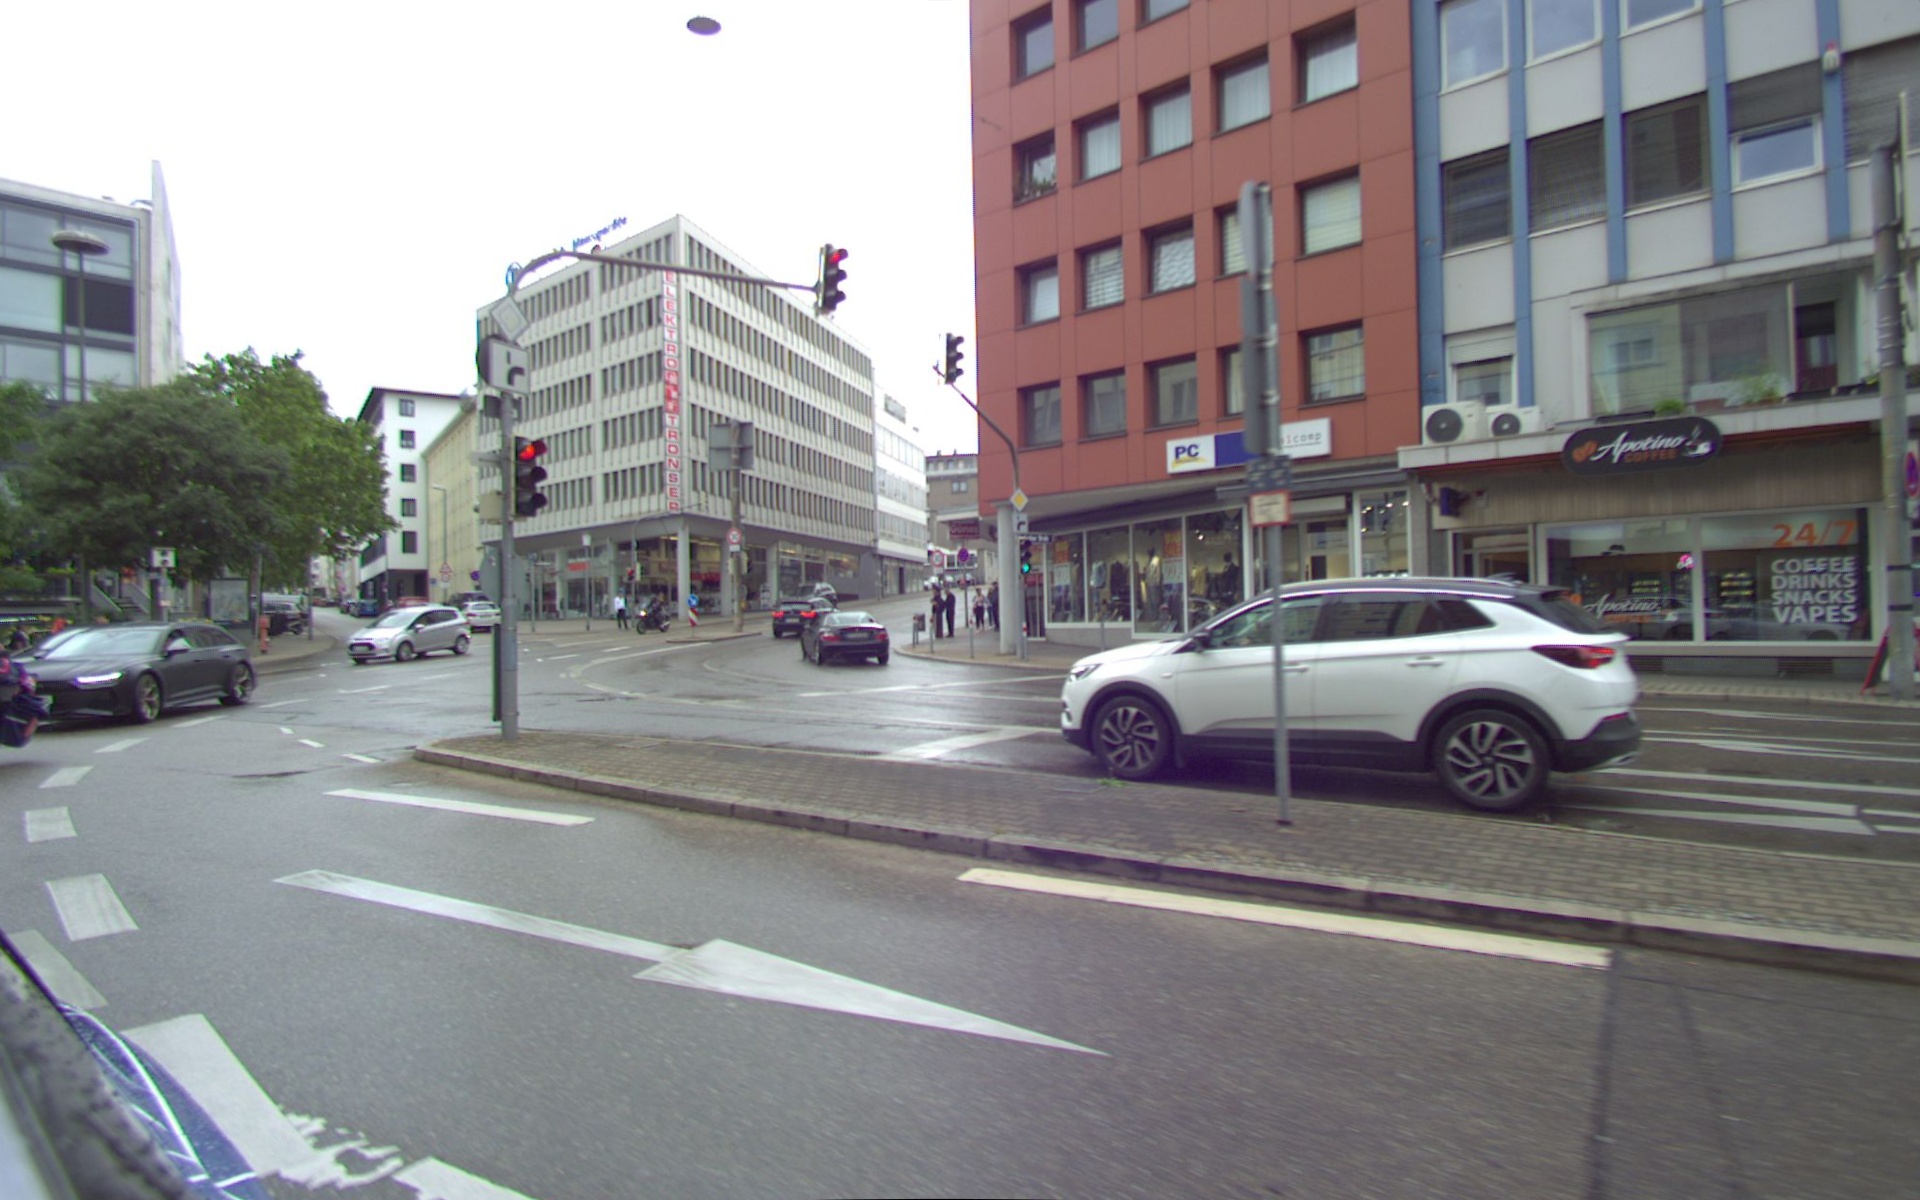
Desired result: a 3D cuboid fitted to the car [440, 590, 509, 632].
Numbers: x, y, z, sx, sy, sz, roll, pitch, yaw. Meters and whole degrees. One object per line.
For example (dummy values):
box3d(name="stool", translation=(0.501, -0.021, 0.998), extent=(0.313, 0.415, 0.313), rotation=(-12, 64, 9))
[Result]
box3d(name="car", translation=(-26.462, 0.607, 55.068), extent=(2.066, 2.106, 4.620), rotation=(-3, 1, -42))

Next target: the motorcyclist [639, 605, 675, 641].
box3d(name="motorcyclist", translation=(-12.636, 0.955, 42.278), extent=(0.908, 1.453, 1.103), rotation=(-1, 0, 30))

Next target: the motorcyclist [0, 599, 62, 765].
box3d(name="motorcyclist", translation=(-9.989, 0.818, 10.187), extent=(1.075, 1.617, 0.956), rotation=(-2, 0, -16))

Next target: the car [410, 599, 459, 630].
box3d(name="car", translation=(-32.153, 0.901, 61.849), extent=(1.994, 1.762, 4.626), rotation=(-3, 1, -35))

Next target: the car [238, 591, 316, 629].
box3d(name="car", translation=(-45.338, 0.633, 67.283), extent=(3.771, 2.282, 1.991), rotation=(-3, 2, -16))

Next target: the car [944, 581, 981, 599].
box3d(name="car", translation=(0.312, -1.227, 120.364), extent=(3.957, 2.029, 1.994), rotation=(-2, 1, 11))

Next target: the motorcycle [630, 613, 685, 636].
box3d(name="motorcycle", translation=(-12.616, 1.008, 42.294), extent=(0.709, 0.848, 2.371), rotation=(-1, 0, 30))

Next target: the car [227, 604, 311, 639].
box3d(name="car", translation=(-35.885, 1.107, 52.613), extent=(3.488, 1.570, 1.745), rotation=(-4, 2, -34))

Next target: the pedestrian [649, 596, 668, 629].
box3d(name="pedestrian", translation=(-15.055, 0.612, 50.474), extent=(0.703, 1.635, 0.726), rotation=(-1, 0, -32))

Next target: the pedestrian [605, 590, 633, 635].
box3d(name="pedestrian", translation=(-16.033, 0.581, 47.610), extent=(0.978, 2.029, 0.949), rotation=(-1, 0, -36))

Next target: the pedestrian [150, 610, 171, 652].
box3d(name="pedestrian", translation=(-35.654, 1.398, 45.127), extent=(0.583, 1.827, 0.706), rotation=(-4, 0, -34))

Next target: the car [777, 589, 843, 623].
box3d(name="car", translation=(-8.200, 0.307, 55.736), extent=(1.984, 1.696, 3.976), rotation=(-2, 1, 19))

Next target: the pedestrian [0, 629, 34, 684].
box3d(name="pedestrian", translation=(-32.841, 1.967, 35.153), extent=(0.591, 1.827, 0.780), rotation=(-4, 0, 31))

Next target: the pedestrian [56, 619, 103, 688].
box3d(name="pedestrian", translation=(-25.196, 1.535, 28.968), extent=(0.786, 1.887, 0.587), rotation=(-4, 4, 31))

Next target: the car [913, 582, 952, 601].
box3d(name="car", translation=(-2.932, -0.947, 110.116), extent=(3.954, 1.971, 1.743), rotation=(-2, 1, 9))

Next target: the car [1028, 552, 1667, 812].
box3d(name="car", translation=(2.976, 0.539, 8.182), extent=(4.418, 1.563, 1.977), rotation=(-3, 1, 35))

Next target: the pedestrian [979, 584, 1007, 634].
box3d(name="pedestrian", translation=(1.205, 0.324, 36.931), extent=(0.726, 1.760, 0.691), rotation=(-6, 0, 15))

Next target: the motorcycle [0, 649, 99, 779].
box3d(name="motorcycle", translation=(-9.921, 1.140, 10.027), extent=(1.292, 1.144, 2.191), rotation=(-2, 1, -15))

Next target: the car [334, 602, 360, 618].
box3d(name="car", translation=(-66.928, 1.106, 110.430), extent=(1.994, 1.661, 4.437), rotation=(-3, 1, -37))

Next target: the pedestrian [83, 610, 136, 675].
box3d(name="pedestrian", translation=(-24.851, 1.243, 29.579), extent=(0.786, 1.761, 0.776), rotation=(-4, 4, 31))

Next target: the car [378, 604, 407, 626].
box3d(name="car", translation=(-50.855, 1.384, 90.710), extent=(1.721, 1.808, 3.675), rotation=(-3, 1, -37))

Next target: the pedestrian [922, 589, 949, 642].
box3d(name="pedestrian", translation=(-0.841, 0.523, 34.761), extent=(0.725, 1.761, 0.741), rotation=(-3, 0, 11))

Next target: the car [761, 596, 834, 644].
box3d(name="car", translation=(-6.058, 0.712, 38.157), extent=(1.972, 1.563, 4.377), rotation=(-3, 1, 0))

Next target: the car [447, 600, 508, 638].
box3d(name="car", translation=(-23.854, 0.942, 49.912), extent=(1.970, 1.643, 4.626), rotation=(-3, 1, -34))

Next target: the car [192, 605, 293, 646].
box3d(name="car", translation=(-32.055, 1.101, 45.317), extent=(3.486, 1.571, 1.745), rotation=(-3, 2, -31))

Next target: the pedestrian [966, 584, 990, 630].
box3d(name="pedestrian", translation=(0.673, 0.256, 37.188), extent=(0.688, 1.641, 0.730), rotation=(-3, 0, 13))

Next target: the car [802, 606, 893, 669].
box3d(name="car", translation=(-2.955, 0.892, 25.838), extent=(1.767, 1.371, 4.071), rotation=(-3, 0, -13))

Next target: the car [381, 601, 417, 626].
box3d(name="car", translation=(-48.456, 1.212, 87.369), extent=(1.994, 2.008, 4.437), rotation=(-3, 1, -37))

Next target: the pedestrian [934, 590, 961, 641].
box3d(name="pedestrian", translation=(-0.434, 0.537, 35.581), extent=(0.725, 1.761, 0.697), rotation=(-3, 0, 11))

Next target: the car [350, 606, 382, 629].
box3d(name="car", translation=(-52.271, 1.532, 89.009), extent=(1.994, 1.854, 4.055), rotation=(-3, 1, -35))

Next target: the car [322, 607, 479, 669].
box3d(name="car", translation=(-17.206, 1.135, 31.359), extent=(1.981, 1.595, 4.086), rotation=(-3, 1, 14))

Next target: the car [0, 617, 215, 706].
box3d(name="car", translation=(-18.575, 1.256, 21.793), extent=(1.848, 1.558, 4.099), rotation=(-2, 1, 4))

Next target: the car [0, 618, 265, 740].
box3d(name="car", translation=(-13.034, 1.103, 15.819), extent=(1.967, 1.502, 4.747), rotation=(-2, 0, -13))

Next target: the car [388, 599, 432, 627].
box3d(name="car", translation=(-36.511, 0.876, 67.153), extent=(1.903, 1.684, 4.455), rotation=(-3, 1, -37))
